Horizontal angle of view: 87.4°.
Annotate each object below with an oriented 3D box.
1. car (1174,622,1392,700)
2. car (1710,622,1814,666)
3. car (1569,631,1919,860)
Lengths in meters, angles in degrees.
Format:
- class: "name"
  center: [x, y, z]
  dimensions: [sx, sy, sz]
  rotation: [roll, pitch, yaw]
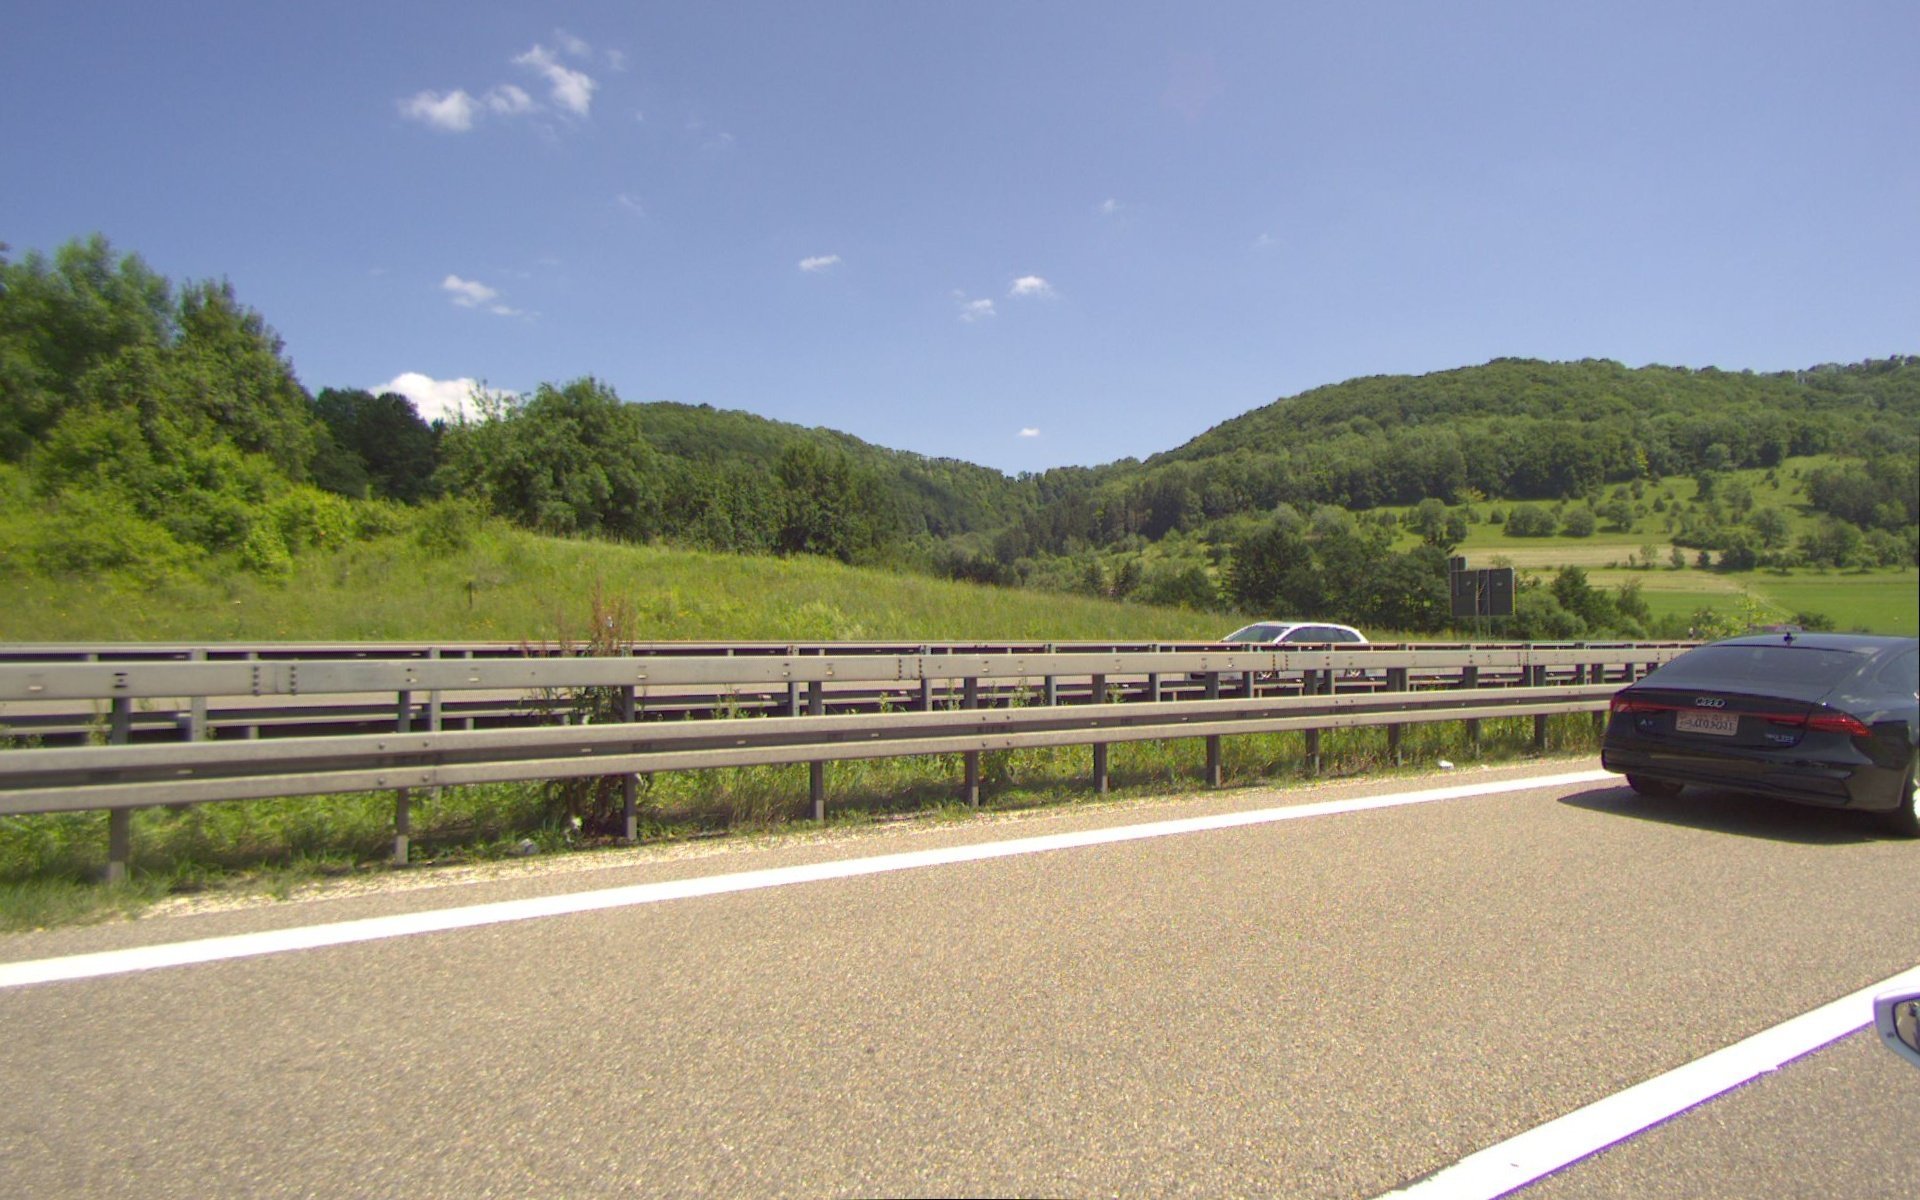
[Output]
- class: "car"
  center: [6.922, 1.238, 21.438]
  dimensions: [4.474, 1.474, 1.984]
  rotation: [1, -1, -30]
- class: "car"
  center: [32.740, 1.770, 40.992]
  dimensions: [4.491, 1.666, 1.816]
  rotation: [1, -1, -30]
- class: "car"
  center: [7.342, 0.992, 8.374]
  dimensions: [4.911, 1.409, 1.792]
  rotation: [1, -1, -31]
